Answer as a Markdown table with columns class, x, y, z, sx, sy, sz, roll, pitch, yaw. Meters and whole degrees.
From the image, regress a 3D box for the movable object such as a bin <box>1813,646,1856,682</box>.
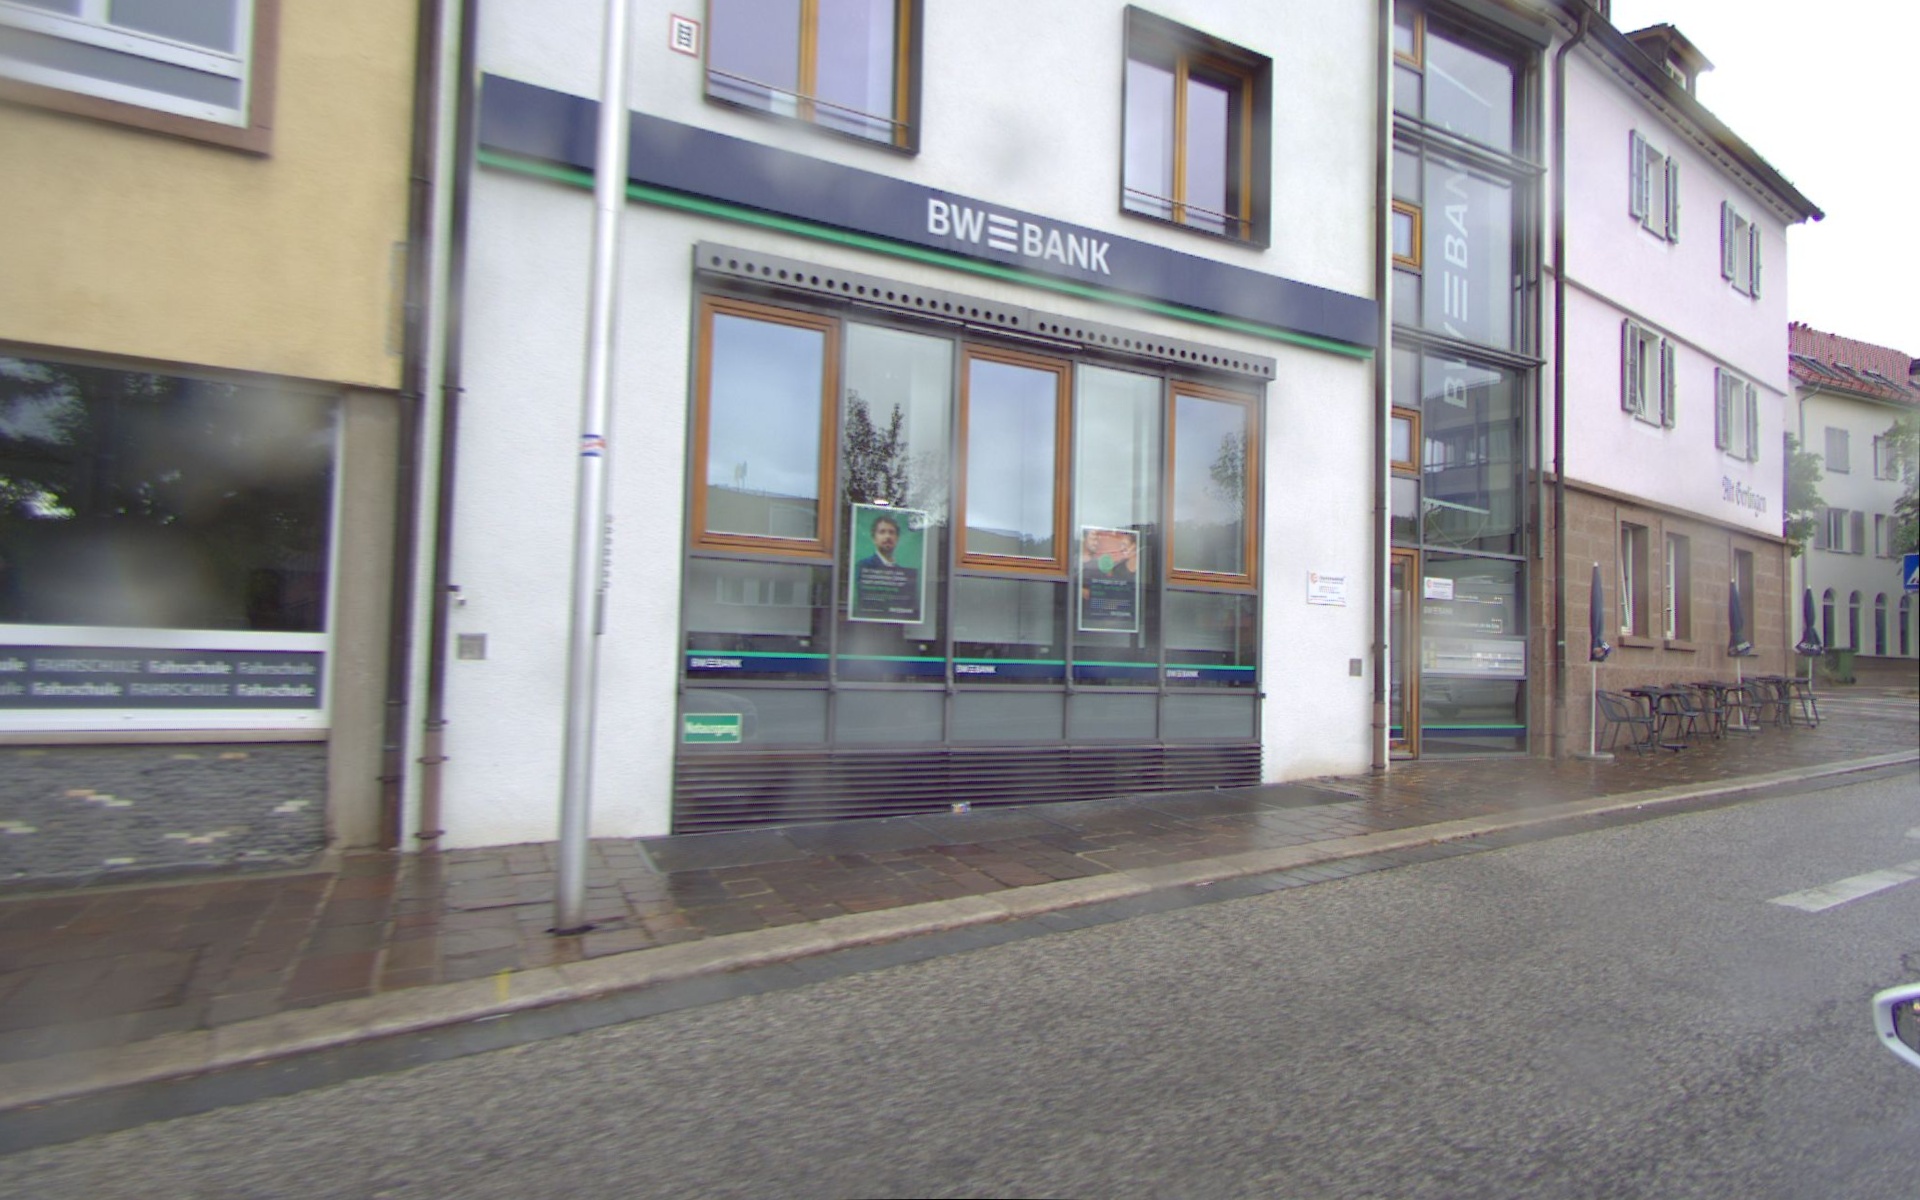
| class | x | y | z | sx | sy | sz | roll | pitch | yaw |
| --- | --- | --- | --- | --- | --- | --- | --- | --- | --- |
| movable object such as a bin | 26.393 | 1.921 | 30.322 | 0.685 | 1.072 | 0.635 | 1 | -4 | -7 |
